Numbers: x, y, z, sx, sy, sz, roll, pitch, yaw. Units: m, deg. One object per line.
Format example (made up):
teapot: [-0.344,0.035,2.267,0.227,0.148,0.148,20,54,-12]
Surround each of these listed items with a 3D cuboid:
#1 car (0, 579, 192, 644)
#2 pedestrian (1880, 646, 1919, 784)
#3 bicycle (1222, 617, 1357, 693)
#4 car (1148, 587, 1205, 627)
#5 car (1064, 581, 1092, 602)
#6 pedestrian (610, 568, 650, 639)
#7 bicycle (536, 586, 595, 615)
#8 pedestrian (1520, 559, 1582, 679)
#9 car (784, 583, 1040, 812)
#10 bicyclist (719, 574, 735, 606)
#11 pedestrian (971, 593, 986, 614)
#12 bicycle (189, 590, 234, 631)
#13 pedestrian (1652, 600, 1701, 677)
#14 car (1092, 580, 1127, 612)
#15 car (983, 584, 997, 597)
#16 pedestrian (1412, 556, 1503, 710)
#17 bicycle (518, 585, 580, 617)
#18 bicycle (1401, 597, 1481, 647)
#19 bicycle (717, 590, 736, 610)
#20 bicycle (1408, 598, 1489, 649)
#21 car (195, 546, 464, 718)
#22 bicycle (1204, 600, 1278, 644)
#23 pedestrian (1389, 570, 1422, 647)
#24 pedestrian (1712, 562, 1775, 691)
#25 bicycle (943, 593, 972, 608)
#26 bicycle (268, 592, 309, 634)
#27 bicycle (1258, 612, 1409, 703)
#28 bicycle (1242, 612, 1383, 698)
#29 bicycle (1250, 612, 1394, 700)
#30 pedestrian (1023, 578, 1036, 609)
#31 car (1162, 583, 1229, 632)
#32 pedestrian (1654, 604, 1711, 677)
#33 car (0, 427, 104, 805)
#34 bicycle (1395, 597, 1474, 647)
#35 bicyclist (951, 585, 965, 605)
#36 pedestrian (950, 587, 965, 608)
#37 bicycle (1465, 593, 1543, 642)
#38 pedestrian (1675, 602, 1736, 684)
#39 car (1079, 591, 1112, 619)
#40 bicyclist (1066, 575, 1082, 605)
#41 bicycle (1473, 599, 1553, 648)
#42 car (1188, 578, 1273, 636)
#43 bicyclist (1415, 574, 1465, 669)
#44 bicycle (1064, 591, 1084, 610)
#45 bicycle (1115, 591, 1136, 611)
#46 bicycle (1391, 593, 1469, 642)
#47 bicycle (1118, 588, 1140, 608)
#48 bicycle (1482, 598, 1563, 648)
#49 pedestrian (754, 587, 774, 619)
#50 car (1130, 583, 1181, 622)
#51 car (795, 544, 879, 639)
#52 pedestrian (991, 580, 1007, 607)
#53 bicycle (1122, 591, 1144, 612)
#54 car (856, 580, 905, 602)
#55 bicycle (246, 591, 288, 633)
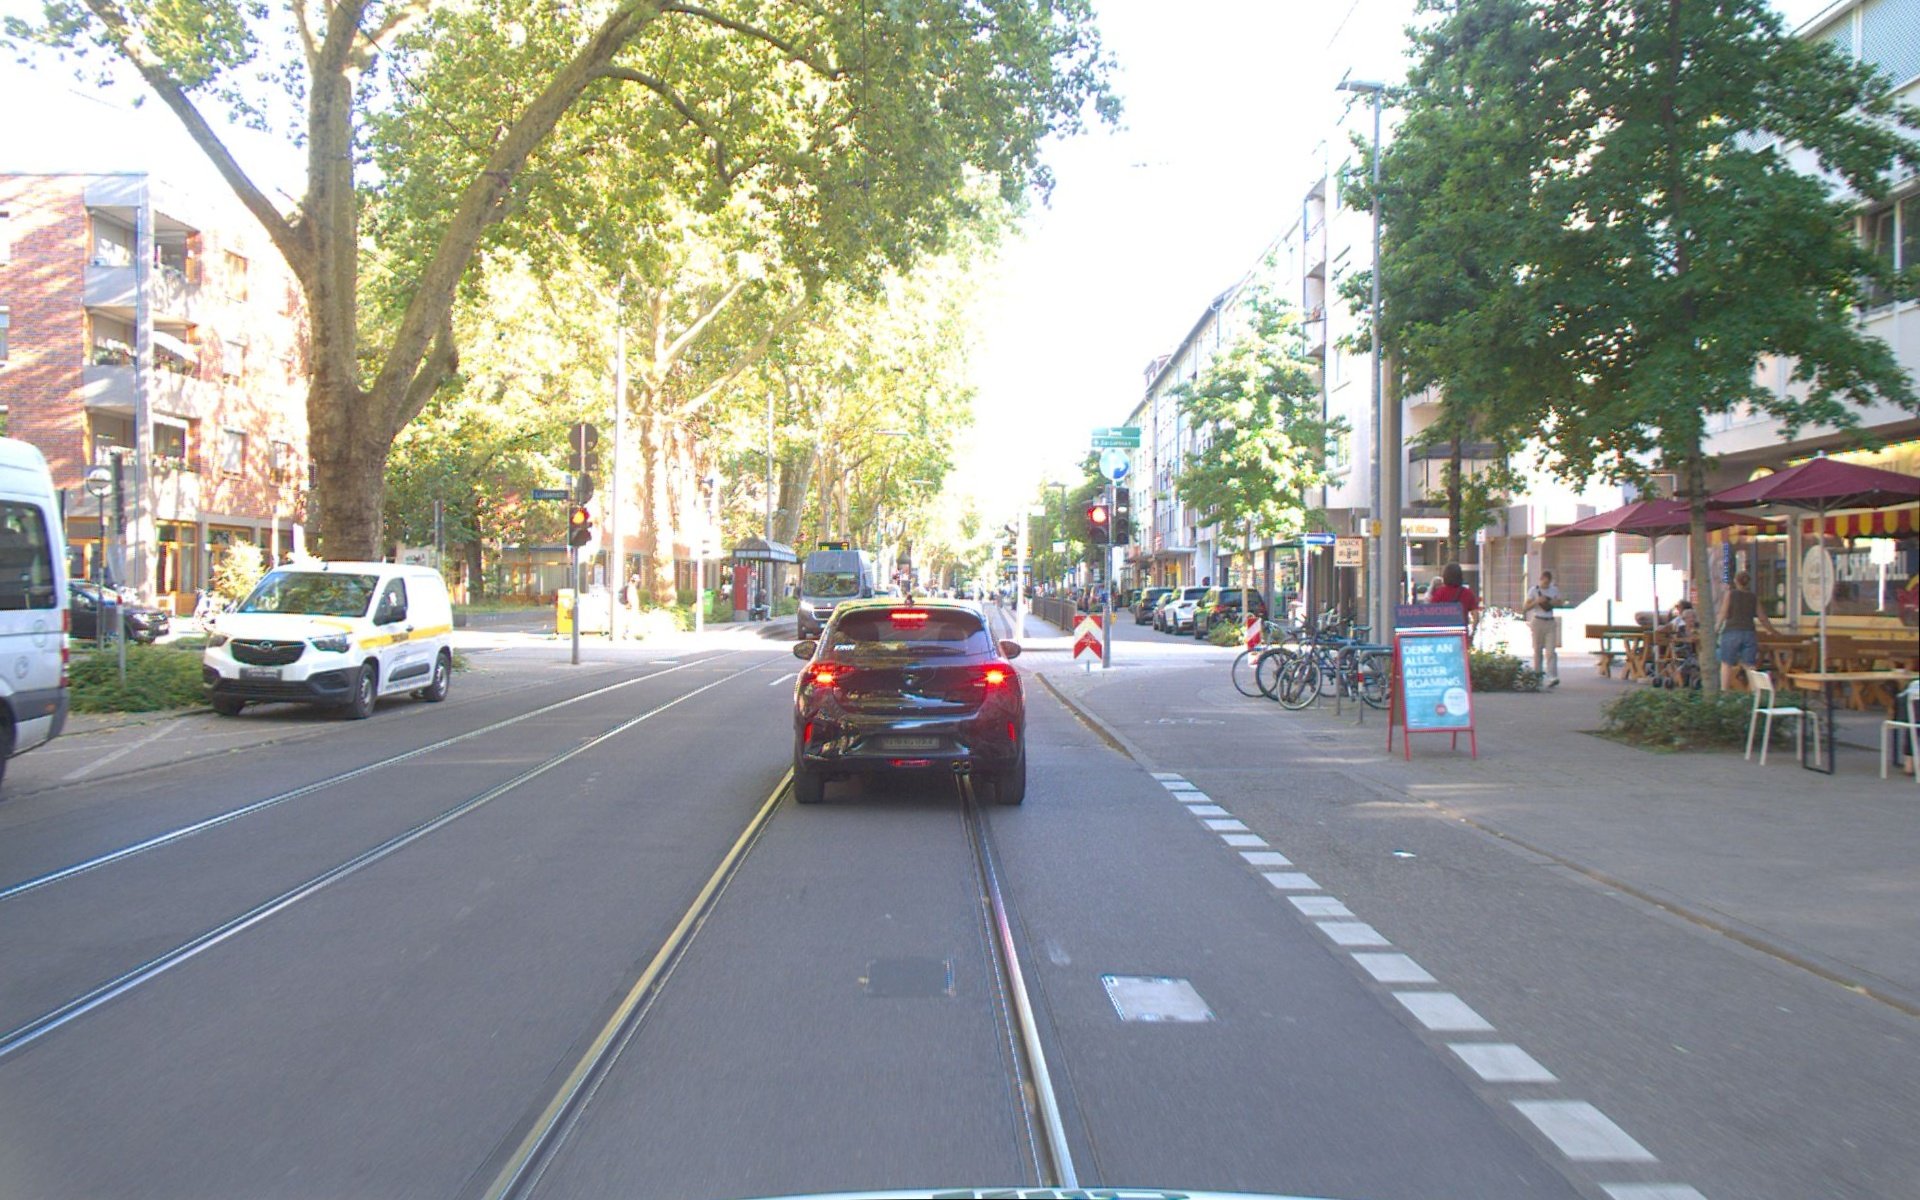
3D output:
car: [-21.850,0.281,41.808,3.905,1.534,2.000,1,0,0]
pedestrian: [7.779,0.907,13.145,0.649,1.045,0.996,1,0,39]
bicycle: [4.611,0.765,23.181,1.778,1.011,0.481,1,0,-2]
car: [8.331,0.271,63.983,1.708,1.465,4.247,1,0,1]
car: [9.070,-0.637,127.707,1.952,1.512,4.000,1,0,1]
pedestrian: [-8.855,0.086,44.422,0.905,1.867,0.920,1,2,-3]
bicycle: [-16.941,0.020,71.044,2.292,1.186,0.682,2,0,1]
pedestrian: [9.173,0.290,25.711,0.578,1.815,0.995,1,0,-1]
car: [-0.355,0.659,13.040,1.724,1.534,3.682,0,0,-1]
bicyclist: [-13.128,-0.541,93.164,0.759,1.780,0.997,1,0,-1]
pedestrian: [1.589,0.277,141.859,1.141,1.779,0.957,1,0,-4]
bicycle: [-21.346,0.286,47.185,0.530,1.103,1.639,1,2,0]
pedestrian: [12.315,0.652,28.444,0.524,1.310,0.716,1,0,2]
car: [9.822,-0.253,108.862,1.953,1.986,4.000,1,0,0]
car: [3.916,-1.206,215.131,1.710,1.571,3.999,1,0,-1]
pedestrian: [6.000,0.385,19.909,0.858,1.789,1.047,1,0,27]
bicycle: [-17.423,0.045,70.190,2.407,1.240,0.682,2,0,1]
bicycle: [12.126,0.550,41.696,1.876,1.228,0.511,-1,1,-3]
bicycle: [-13.141,0.012,93.310,0.766,1.130,2.595,1,0,-2]
bicycle: [12.142,0.569,41.154,1.876,1.228,0.511,-1,1,-3]
car: [-7.670,0.355,20.580,1.727,1.883,4.317,1,0,-1]
bicycle: [8.119,0.636,47.819,2.081,1.208,0.681,1,0,9]
pedestrian: [9.257,0.180,34.347,0.539,1.589,0.645,1,-1,5]
pedestrian: [10.492,0.349,22.171,0.663,1.688,0.814,1,0,20]
bicycle: [-0.206,0.016,144.236,2.431,1.262,0.957,1,0,-5]
bicycle: [-19.077,0.367,47.022,0.530,1.103,1.537,1,3,-1]
bicycle: [4.673,0.710,20.763,1.778,1.119,0.525,0,0,0]
bicycle: [4.733,0.735,22.244,1.781,1.119,0.497,1,0,-8]
bicycle: [4.750,0.734,21.700,1.781,1.119,0.480,1,0,-8]
pedestrian: [3.705,-0.336,88.341,0.618,1.603,0.871,2,0,1]
car: [8.242,0.263,58.190,1.762,1.634,4.415,1,0,1]
pedestrian: [11.043,0.619,25.292,0.629,1.097,0.522,1,0,-1]
car: [-7.746,0.098,9.748,2.064,2.622,6.025,1,0,2]
bicycle: [12.111,0.557,42.230,1.876,1.228,0.511,0,1,-3]
bicyclist: [-0.210,-0.445,144.234,1.141,1.779,0.957,1,0,-4]
pedestrian: [-0.220,-0.248,141.549,1.141,1.779,0.957,1,0,-4]
bicycle: [14.167,0.460,43.115,1.876,1.229,0.511,1,-1,-3]
pedestrian: [11.007,0.631,24.422,0.645,1.195,0.522,1,0,-1]
car: [9.447,0.345,115.443,1.953,1.829,4.000,1,0,0]
bicyclist: [6.998,-0.596,101.460,0.844,1.790,1.052,1,0,-5]
bicycle: [14.189,0.605,42.451,1.876,1.229,0.511,1,0,-3]
car: [8.270,0.216,50.916,1.952,1.644,4.445,-2,0,1]
bicyclist: [8.973,0.394,30.950,0.663,1.747,0.965,1,0,3]
bicycle: [6.978,0.039,101.461,0.844,1.156,2.393,1,0,-5]
bicycle: [9.712,0.039,97.234,0.591,1.156,2.429,1,0,-10]
bicycle: [12.163,0.450,42.785,1.876,1.229,0.511,-1,1,-3]
bicycle: [10.322,-0.123,101.148,0.600,1.156,2.914,1,0,-10]
bicycle: [14.222,0.588,41.842,1.876,1.228,0.511,1,1,-3]
pedestrian: [-7.407,0.106,62.450,0.691,1.189,0.659,-1,0,-2]
car: [8.757,0.108,74.370,1.819,1.644,4.398,1,0,1]
car: [-3.808,-0.242,52.243,2.070,2.786,6.115,-1,0,1]
pedestrian: [2.541,-0.418,107.210,0.737,1.739,0.760,1,0,35]
bicycle: [9.890,0.072,94.575,0.610,1.156,2.433,1,0,-10]
car: [-7.205,-0.833,150.198,4.300,1.884,1.997,1,0,-6]
bicycle: [-19.691,0.345,47.022,0.530,1.103,1.639,1,2,0]
